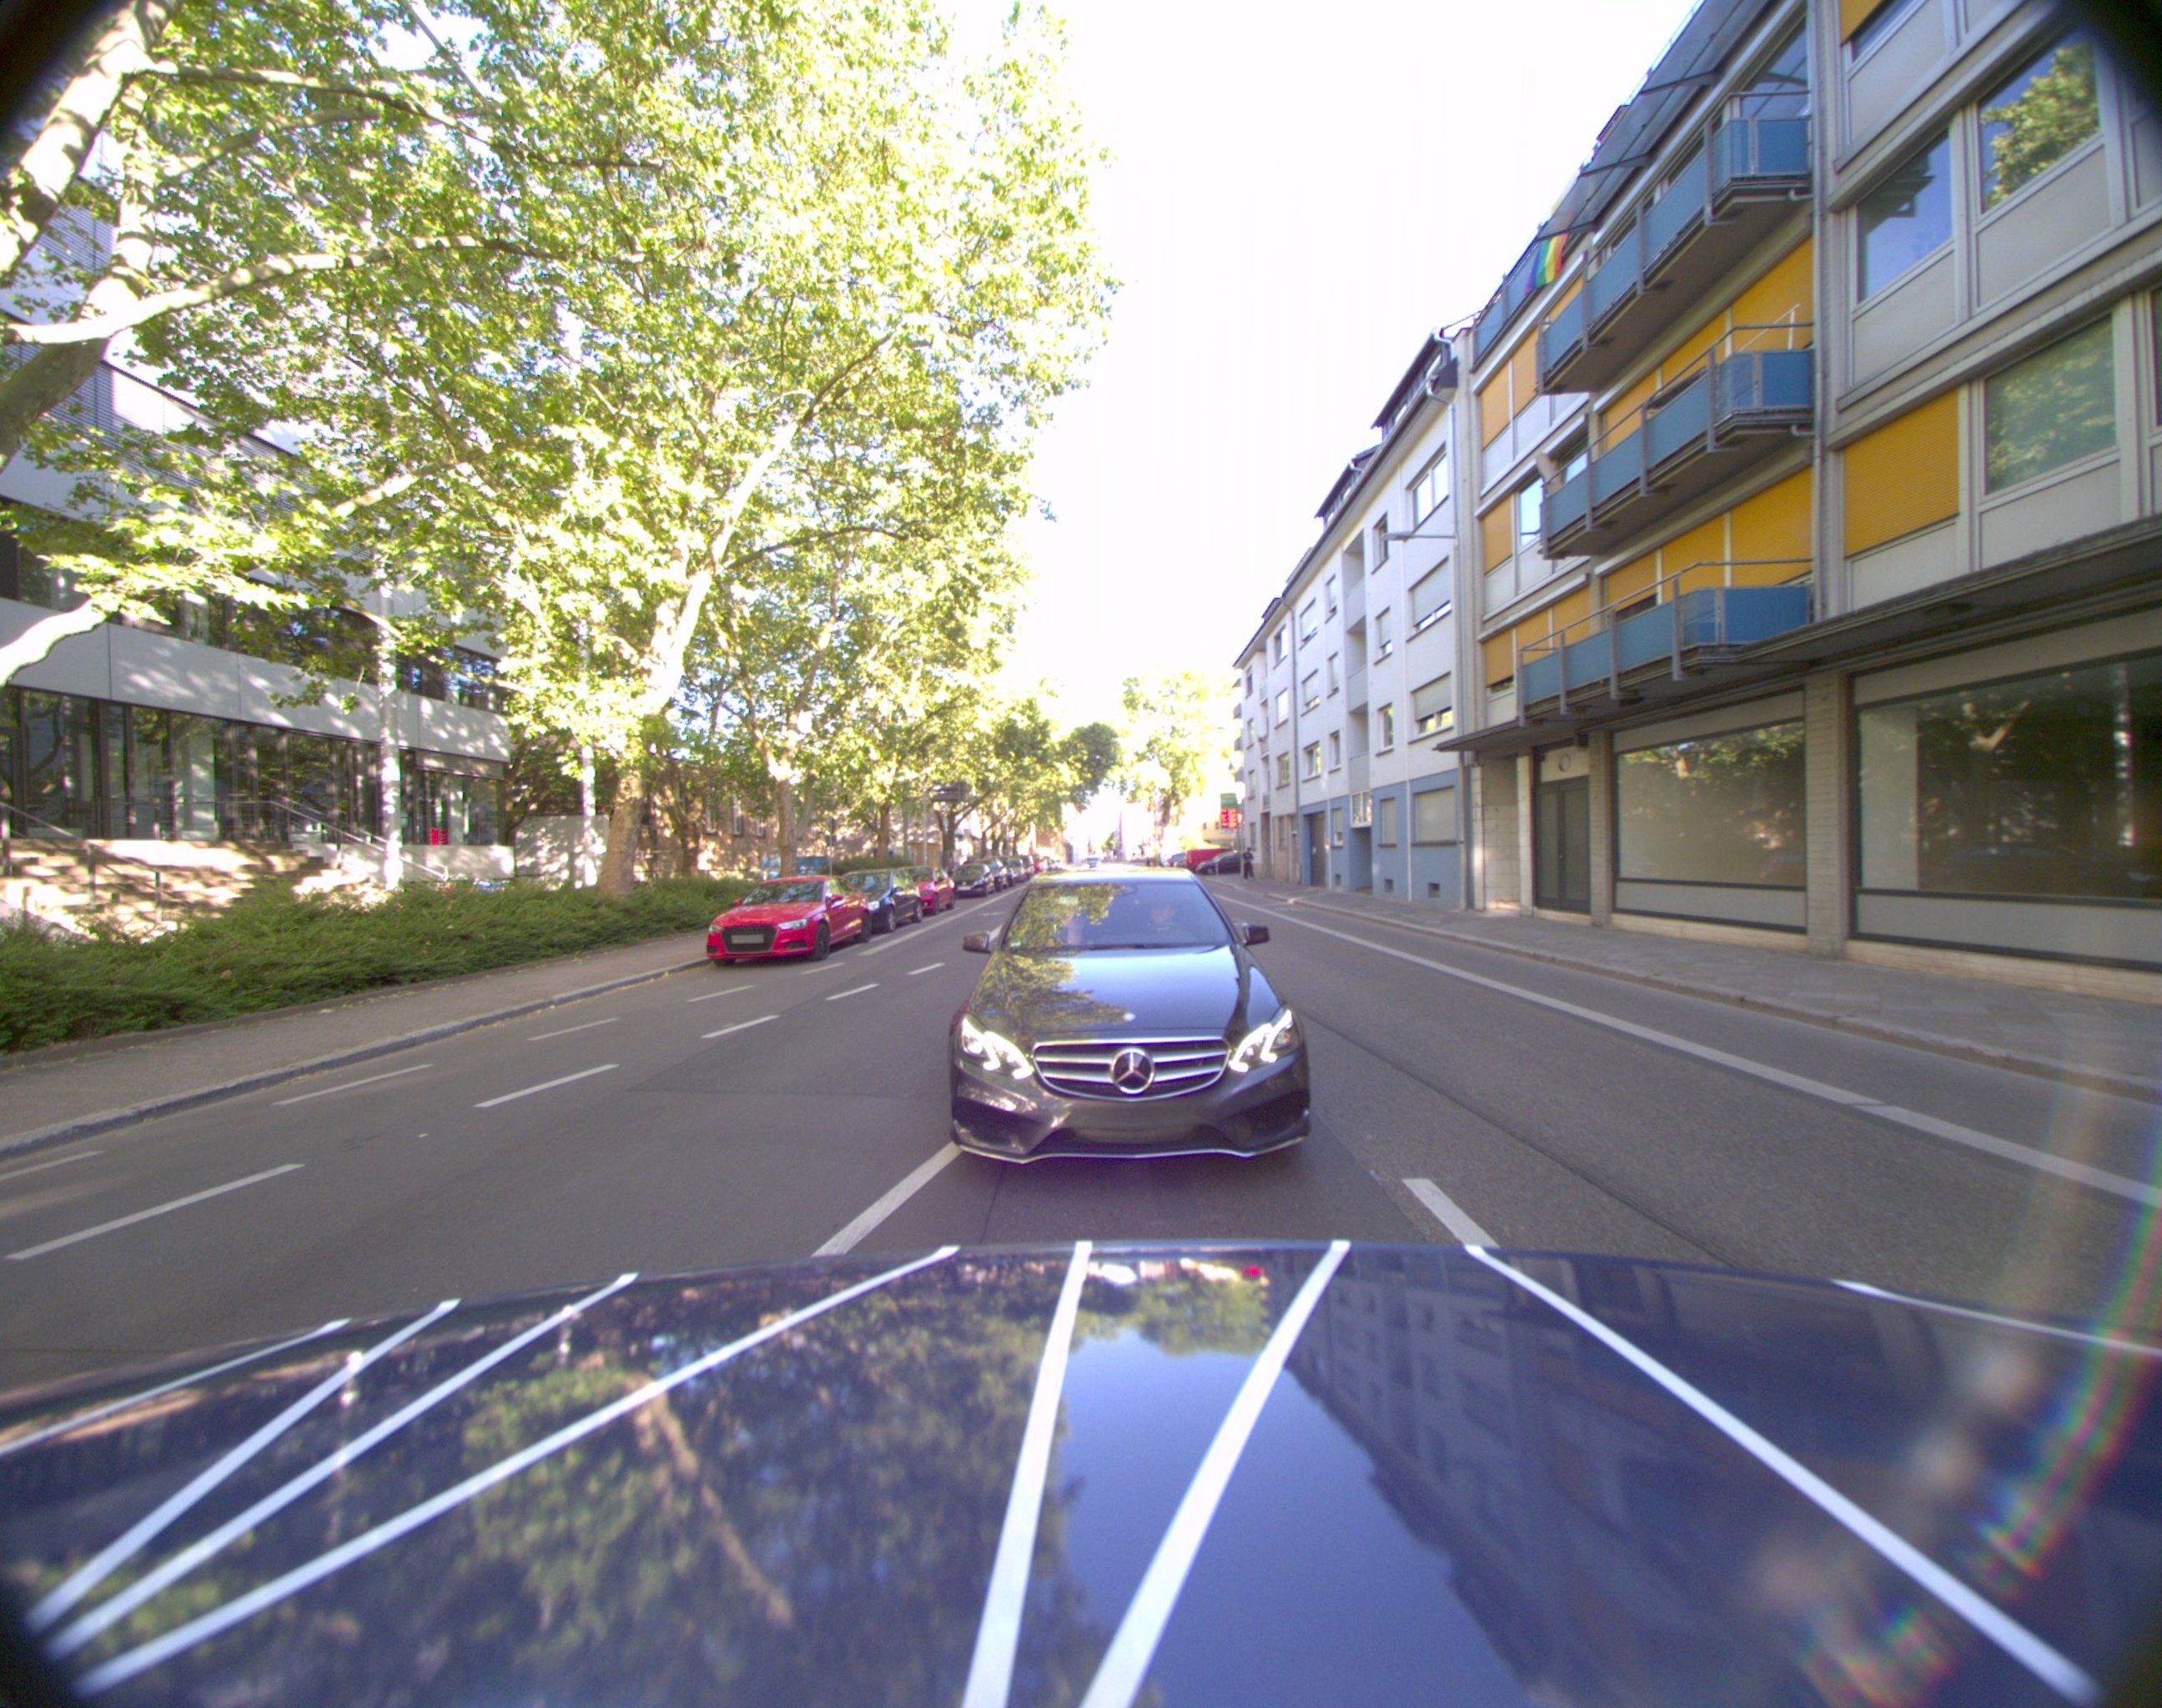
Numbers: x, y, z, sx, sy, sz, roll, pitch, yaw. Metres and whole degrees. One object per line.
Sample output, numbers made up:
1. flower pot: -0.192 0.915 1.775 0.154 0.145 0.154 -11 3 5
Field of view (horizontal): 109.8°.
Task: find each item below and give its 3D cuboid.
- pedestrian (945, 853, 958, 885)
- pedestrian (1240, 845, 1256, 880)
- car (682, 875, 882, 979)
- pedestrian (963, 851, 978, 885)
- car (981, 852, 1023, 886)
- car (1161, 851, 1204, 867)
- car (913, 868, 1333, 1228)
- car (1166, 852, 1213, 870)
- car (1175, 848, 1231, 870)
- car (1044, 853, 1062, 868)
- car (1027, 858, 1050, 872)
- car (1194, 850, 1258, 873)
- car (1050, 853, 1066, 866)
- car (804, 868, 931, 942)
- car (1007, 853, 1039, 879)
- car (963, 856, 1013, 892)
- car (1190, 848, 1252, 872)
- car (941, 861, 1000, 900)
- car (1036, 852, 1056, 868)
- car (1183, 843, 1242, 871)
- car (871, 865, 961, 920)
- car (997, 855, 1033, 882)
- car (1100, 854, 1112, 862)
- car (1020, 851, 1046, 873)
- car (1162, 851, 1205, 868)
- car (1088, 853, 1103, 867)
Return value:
1. pedestrian: -7.488 0.859 44.103 0.601 1.785 0.593 -1 1 0
2. pedestrian: 8.395 0.423 38.147 0.612 1.685 0.655 -1 1 1
3. car: -5.138 1.175 13.762 1.835 1.396 4.247 -2 0 1
4. pedestrian: -6.150 0.793 42.189 0.660 1.849 0.641 -1 1 1
5. car: -4.520 0.819 44.107 1.835 1.787 4.463 -2 0 1
6. car: 10.761 0.517 80.609 4.255 1.461 1.653 -4 0 1
7. car: 0.218 0.918 5.564 1.849 1.490 4.302 -1 0 1
8. car: 10.420 0.676 73.186 4.255 1.461 1.653 -4 0 1
9. car: 10.041 0.411 62.705 4.255 1.461 1.653 -4 0 1
10. car: -3.425 0.782 92.835 1.835 1.667 4.259 -2 0 1
11. car: -4.003 1.023 71.780 1.835 1.220 4.259 -2 0 1
12. car: 10.389 0.522 54.741 4.255 1.392 1.653 -4 0 1
13. car: -3.061 0.681 102.942 1.835 1.667 4.259 -2 0 1
14. car: -5.049 1.148 18.623 1.835 1.438 4.168 -2 0 1
15. car: -4.190 0.809 55.632 1.835 1.750 4.259 -2 0 1
16. car: -4.606 0.962 38.067 1.835 1.596 4.161 -2 0 1
17. car: 10.473 0.458 57.043 4.255 1.461 1.653 -4 0 1
18. car: -4.755 1.101 33.170 1.835 1.459 4.168 -2 0 1
19. car: -3.952 0.664 86.219 1.835 1.667 4.259 -2 0 1
20. car: 10.404 0.226 60.123 4.255 1.907 1.818 -4 0 0
21. car: -5.051 1.132 23.833 1.835 1.459 4.168 -2 0 1
22. car: -4.348 0.944 50.600 1.835 1.604 4.259 -2 0 1
23. car: 5.637 0.803 169.398 1.997 1.729 4.003 -1 0 11
24. car: -4.157 0.678 66.340 1.835 1.839 4.259 -2 0 1
25. car: 10.591 0.543 78.644 4.255 1.461 1.653 -4 0 1
26. car: 1.646 0.648 86.805 1.726 1.530 4.000 -1 0 1
